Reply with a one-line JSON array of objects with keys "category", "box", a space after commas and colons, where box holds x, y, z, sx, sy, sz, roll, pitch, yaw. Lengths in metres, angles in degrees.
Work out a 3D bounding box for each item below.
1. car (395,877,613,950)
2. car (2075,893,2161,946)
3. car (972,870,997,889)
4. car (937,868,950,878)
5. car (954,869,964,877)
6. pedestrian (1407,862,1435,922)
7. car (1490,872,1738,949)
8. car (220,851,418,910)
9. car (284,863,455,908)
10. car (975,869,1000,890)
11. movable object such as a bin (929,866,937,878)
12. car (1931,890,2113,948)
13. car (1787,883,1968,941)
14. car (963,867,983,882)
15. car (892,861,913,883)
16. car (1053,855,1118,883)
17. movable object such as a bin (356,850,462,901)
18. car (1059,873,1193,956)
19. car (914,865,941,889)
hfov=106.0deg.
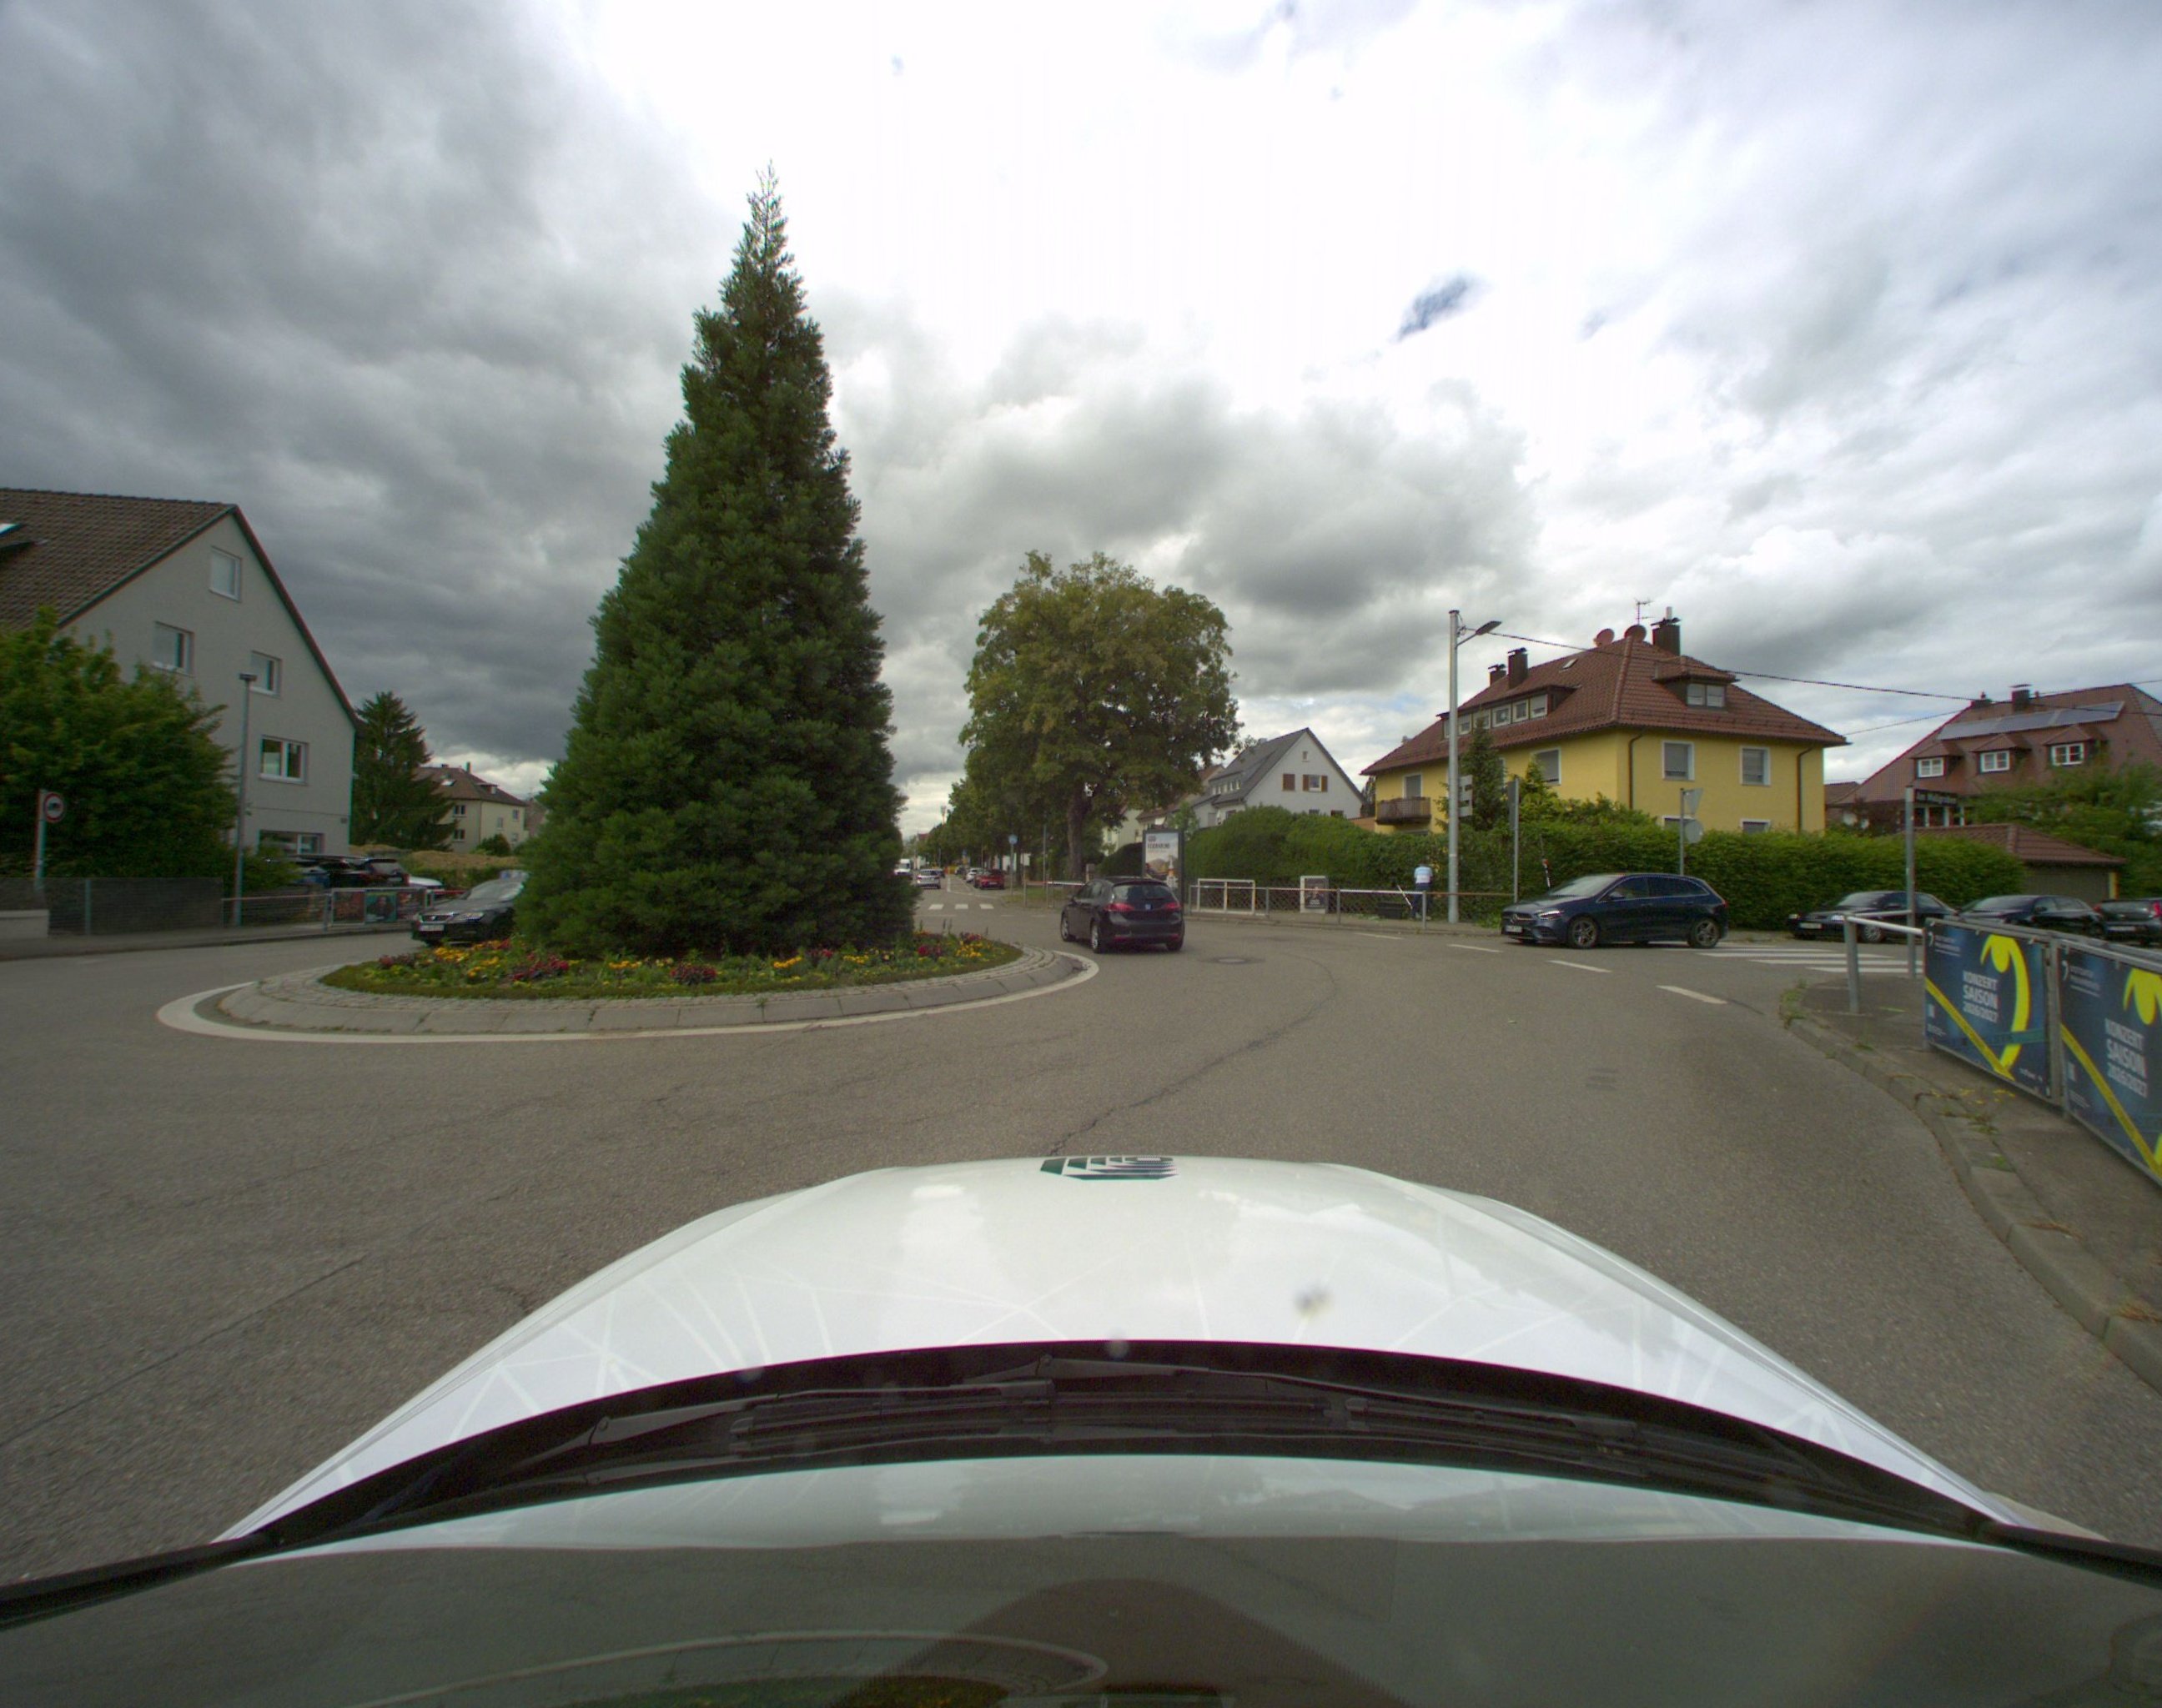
[{"category": "car", "box": [-12.594, 1.238, 18.114, 1.525, 1.375, 3.992, -2, -1, 11]}, {"category": "car", "box": [31.479, 1.872, 23.747, 3.844, 1.403, 1.545, 0, -1, -11]}, {"category": "car", "box": [-7.574, 1.973, 63.623, 1.654, 1.416, 4.160, -1, -1, -11]}, {"category": "car", "box": [-19.627, 2.697, 116.174, 1.811, 1.375, 3.678, 0, -1, -12]}, {"category": "car", "box": [-22.454, 3.509, 150.114, 1.706, 1.455, 4.598, 0, -1, -11]}, {"category": "pedestrian", "box": [9.444, 1.044, 22.627, 0.646, 1.656, 0.598, 0, -2, 31]}, {"category": "car", "box": [10.881, 1.108, 16.745, 4.303, 1.449, 1.579, 0, -1, -8]}, {"category": "car", "box": [-23.122, 0.831, 24.879, 3.918, 1.662, 1.849, 1, -3, -10]}, {"category": "car", "box": [-23.898, 1.060, 27.494, 3.918, 1.402, 1.741, 1, -1, -10]}, {"category": "car", "box": [-6.711, 1.802, 58.161, 1.565, 1.455, 3.655, 0, -2, -10]}, {"category": "movable object such as a bin", "box": [-32.842, 4.044, 180.827, 1.770, 2.574, 3.724, 0, -1, -12]}, {"category": "car", "box": [25.623, 1.733, 22.209, 3.844, 1.403, 1.545, 0, -1, -11]}, {"category": "car", "box": [20.808, 1.500, 21.320, 3.774, 1.348, 1.545, 2, -1, -11]}, {"category": "car", "box": [-10.525, 1.954, 79.422, 1.654, 1.416, 4.160, -1, -1, -11]}, {"category": "car", "box": [-21.650, 2.192, 99.192, 2.018, 2.674, 5.789, 0, -1, -8]}, {"category": "car", "box": [0.419, 1.360, 74.990, 5.722, 2.592, 1.988, 0, 0, -15]}, {"category": "movable object such as a bin", "box": [-30.756, 0.970, 37.480, 1.897, 2.188, 4.344, 0, -1, -12]}, {"category": "car", "box": [0.784, 1.132, 16.694, 1.820, 1.438, 3.724, -1, -1, -12]}, {"category": "car", "box": [-11.642, 1.702, 61.514, 1.907, 1.685, 3.724, -1, -1, -12]}]
